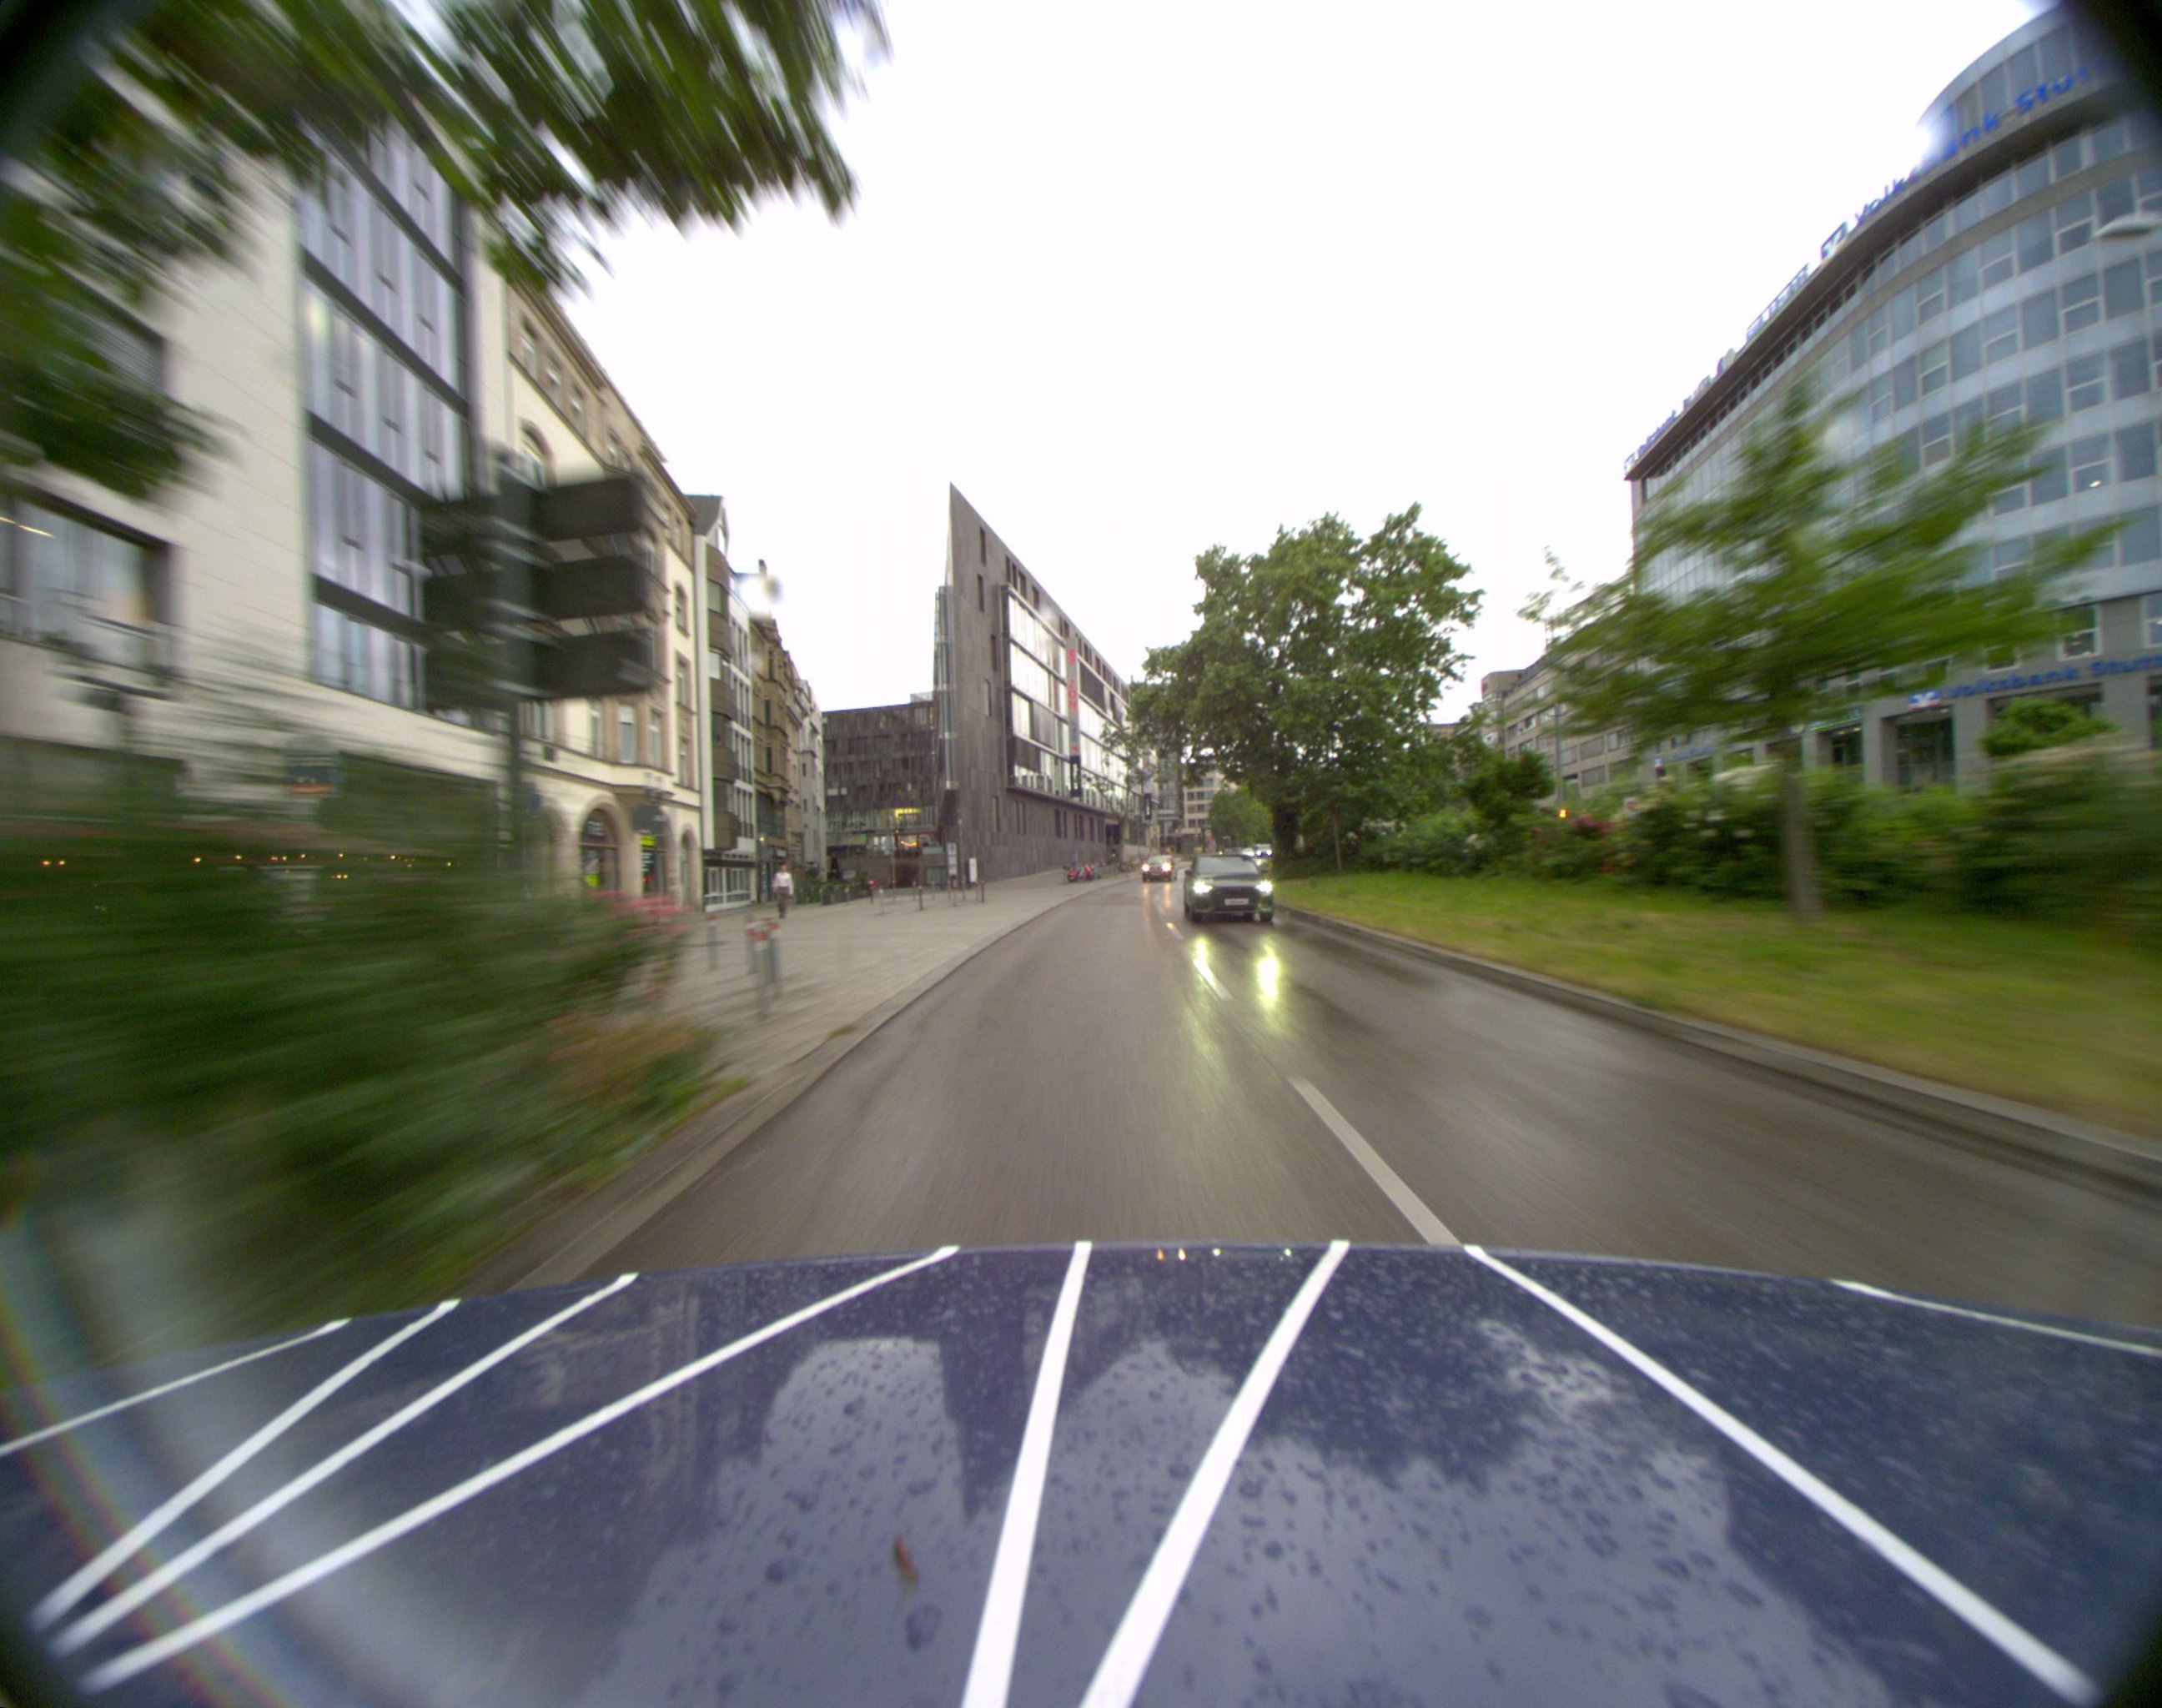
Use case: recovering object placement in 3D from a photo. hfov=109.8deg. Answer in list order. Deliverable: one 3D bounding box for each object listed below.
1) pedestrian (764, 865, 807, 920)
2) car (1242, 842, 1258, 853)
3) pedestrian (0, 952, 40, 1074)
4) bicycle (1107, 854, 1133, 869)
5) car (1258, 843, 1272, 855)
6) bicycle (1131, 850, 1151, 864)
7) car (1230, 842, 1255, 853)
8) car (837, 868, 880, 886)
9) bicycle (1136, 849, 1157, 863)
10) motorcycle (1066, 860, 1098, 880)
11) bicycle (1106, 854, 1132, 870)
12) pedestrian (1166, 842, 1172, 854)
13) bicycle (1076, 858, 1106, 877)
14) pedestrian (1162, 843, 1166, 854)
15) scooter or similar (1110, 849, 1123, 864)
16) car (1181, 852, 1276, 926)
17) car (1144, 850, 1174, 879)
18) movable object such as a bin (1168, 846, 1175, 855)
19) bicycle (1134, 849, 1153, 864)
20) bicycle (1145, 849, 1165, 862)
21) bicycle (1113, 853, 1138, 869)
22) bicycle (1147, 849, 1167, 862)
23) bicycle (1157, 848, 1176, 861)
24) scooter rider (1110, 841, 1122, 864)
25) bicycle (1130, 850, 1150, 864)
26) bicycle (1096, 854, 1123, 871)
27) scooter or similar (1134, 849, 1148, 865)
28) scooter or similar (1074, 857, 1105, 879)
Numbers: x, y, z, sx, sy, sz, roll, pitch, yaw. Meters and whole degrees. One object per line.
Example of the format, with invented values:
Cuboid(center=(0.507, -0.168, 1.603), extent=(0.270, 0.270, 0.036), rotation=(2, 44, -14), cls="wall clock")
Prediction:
Cuboid(center=(-10.550, 1.356, 27.165), extent=(0.874, 1.827, 1.249), rotation=(-4, 1, 2), cls="pedestrian")
Cuboid(center=(25.332, -0.980, 113.689), extent=(2.070, 1.578, 4.112), rotation=(-4, 0, 16), cls="car")
Cuboid(center=(-12.305, 1.804, 8.379), extent=(0.629, 1.319, 0.635), rotation=(-5, 1, -9), cls="pedestrian")
Cuboid(center=(2.921, 0.558, 57.019), extent=(1.797, 1.062, 0.557), rotation=(-4, 2, 11), cls="bicycle")
Cuboid(center=(24.771, -0.667, 102.212), extent=(1.604, 1.377, 3.023), rotation=(-4, 0, 15), cls="car")
Cuboid(center=(5.047, 0.237, 64.010), extent=(1.537, 1.134, 0.689), rotation=(-2, 2, 10), cls="bicycle")
Cuboid(center=(30.984, -1.218, 145.746), extent=(2.003, 1.801, 4.202), rotation=(-4, 0, -40), cls="car")
Cuboid(center=(-22.756, 2.343, 77.813), extent=(4.071, 1.608, 1.701), rotation=(-4, 1, -19), cls="car")
Cuboid(center=(5.630, 0.171, 65.426), extent=(1.709, 1.134, 0.689), rotation=(-2, 2, 10), cls="bicycle")
Cuboid(center=(0.054, 0.991, 46.890), extent=(1.795, 1.133, 0.596), rotation=(-4, 2, 10), cls="motorcycle")
Cuboid(center=(2.798, 0.581, 56.403), extent=(1.797, 1.062, 0.557), rotation=(-4, 2, 11), cls="bicycle")
Cuboid(center=(13.225, -0.851, 114.294), extent=(0.722, 1.820, 0.747), rotation=(-1, 2, 14), cls="pedestrian")
Cuboid(center=(0.634, 0.907, 49.622), extent=(1.797, 1.101, 0.670), rotation=(-4, 2, 10), cls="bicycle")
Cuboid(center=(12.468, -0.786, 114.513), extent=(0.484, 1.689, 0.580), rotation=(0, 2, 14), cls="pedestrian")
Cuboid(center=(3.194, 0.250, 68.922), extent=(0.779, 1.298, 1.336), rotation=(-2, 1, 19), cls="scooter or similar")
Cuboid(center=(3.488, 0.759, 18.724), extent=(1.864, 1.509, 4.346), rotation=(-2, 1, 6), cls="car")
Cuboid(center=(4.401, 0.541, 43.019), extent=(1.594, 1.501, 3.710), rotation=(-2, 1, 5), cls="car")
Cuboid(center=(13.499, -0.553, 112.940), extent=(0.803, 1.258, 1.789), rotation=(-1, 1, 14), cls="movable object such as a bin")
Cuboid(center=(5.299, 0.203, 64.726), extent=(1.537, 1.134, 0.689), rotation=(-2, 2, 10), cls="bicycle")
Cuboid(center=(6.714, 0.151, 69.310), extent=(1.733, 1.133, 0.689), rotation=(-1, 1, 10), cls="bicycle")
Cuboid(center=(3.403, 0.508, 57.844), extent=(1.797, 1.062, 0.557), rotation=(-4, 2, 11), cls="bicycle")
Cuboid(center=(7.045, 0.113, 70.156), extent=(1.733, 1.176, 0.689), rotation=(-1, 1, 10), cls="bicycle")
Cuboid(center=(8.170, 0.060, 72.562), extent=(1.733, 1.176, 0.689), rotation=(-1, 1, 10), cls="bicycle")
Cuboid(center=(3.172, -0.139, 68.899), extent=(0.779, 2.009, 0.925), rotation=(-2, 1, 19), cls="scooter rider")
Cuboid(center=(4.915, 0.261, 63.291), extent=(1.537, 1.134, 0.663), rotation=(-2, 2, 10), cls="bicycle")
Cuboid(center=(2.081, 0.636, 54.723), extent=(1.797, 1.101, 0.670), rotation=(-4, 2, 10), cls="bicycle")
Cuboid(center=(4.842, 0.282, 61.730), extent=(1.062, 1.251, 0.303), rotation=(-2, 2, 9), cls="scooter or similar")
Cuboid(center=(0.524, 0.883, 48.116), extent=(1.795, 1.236, 0.596), rotation=(-4, 2, 10), cls="scooter or similar")
